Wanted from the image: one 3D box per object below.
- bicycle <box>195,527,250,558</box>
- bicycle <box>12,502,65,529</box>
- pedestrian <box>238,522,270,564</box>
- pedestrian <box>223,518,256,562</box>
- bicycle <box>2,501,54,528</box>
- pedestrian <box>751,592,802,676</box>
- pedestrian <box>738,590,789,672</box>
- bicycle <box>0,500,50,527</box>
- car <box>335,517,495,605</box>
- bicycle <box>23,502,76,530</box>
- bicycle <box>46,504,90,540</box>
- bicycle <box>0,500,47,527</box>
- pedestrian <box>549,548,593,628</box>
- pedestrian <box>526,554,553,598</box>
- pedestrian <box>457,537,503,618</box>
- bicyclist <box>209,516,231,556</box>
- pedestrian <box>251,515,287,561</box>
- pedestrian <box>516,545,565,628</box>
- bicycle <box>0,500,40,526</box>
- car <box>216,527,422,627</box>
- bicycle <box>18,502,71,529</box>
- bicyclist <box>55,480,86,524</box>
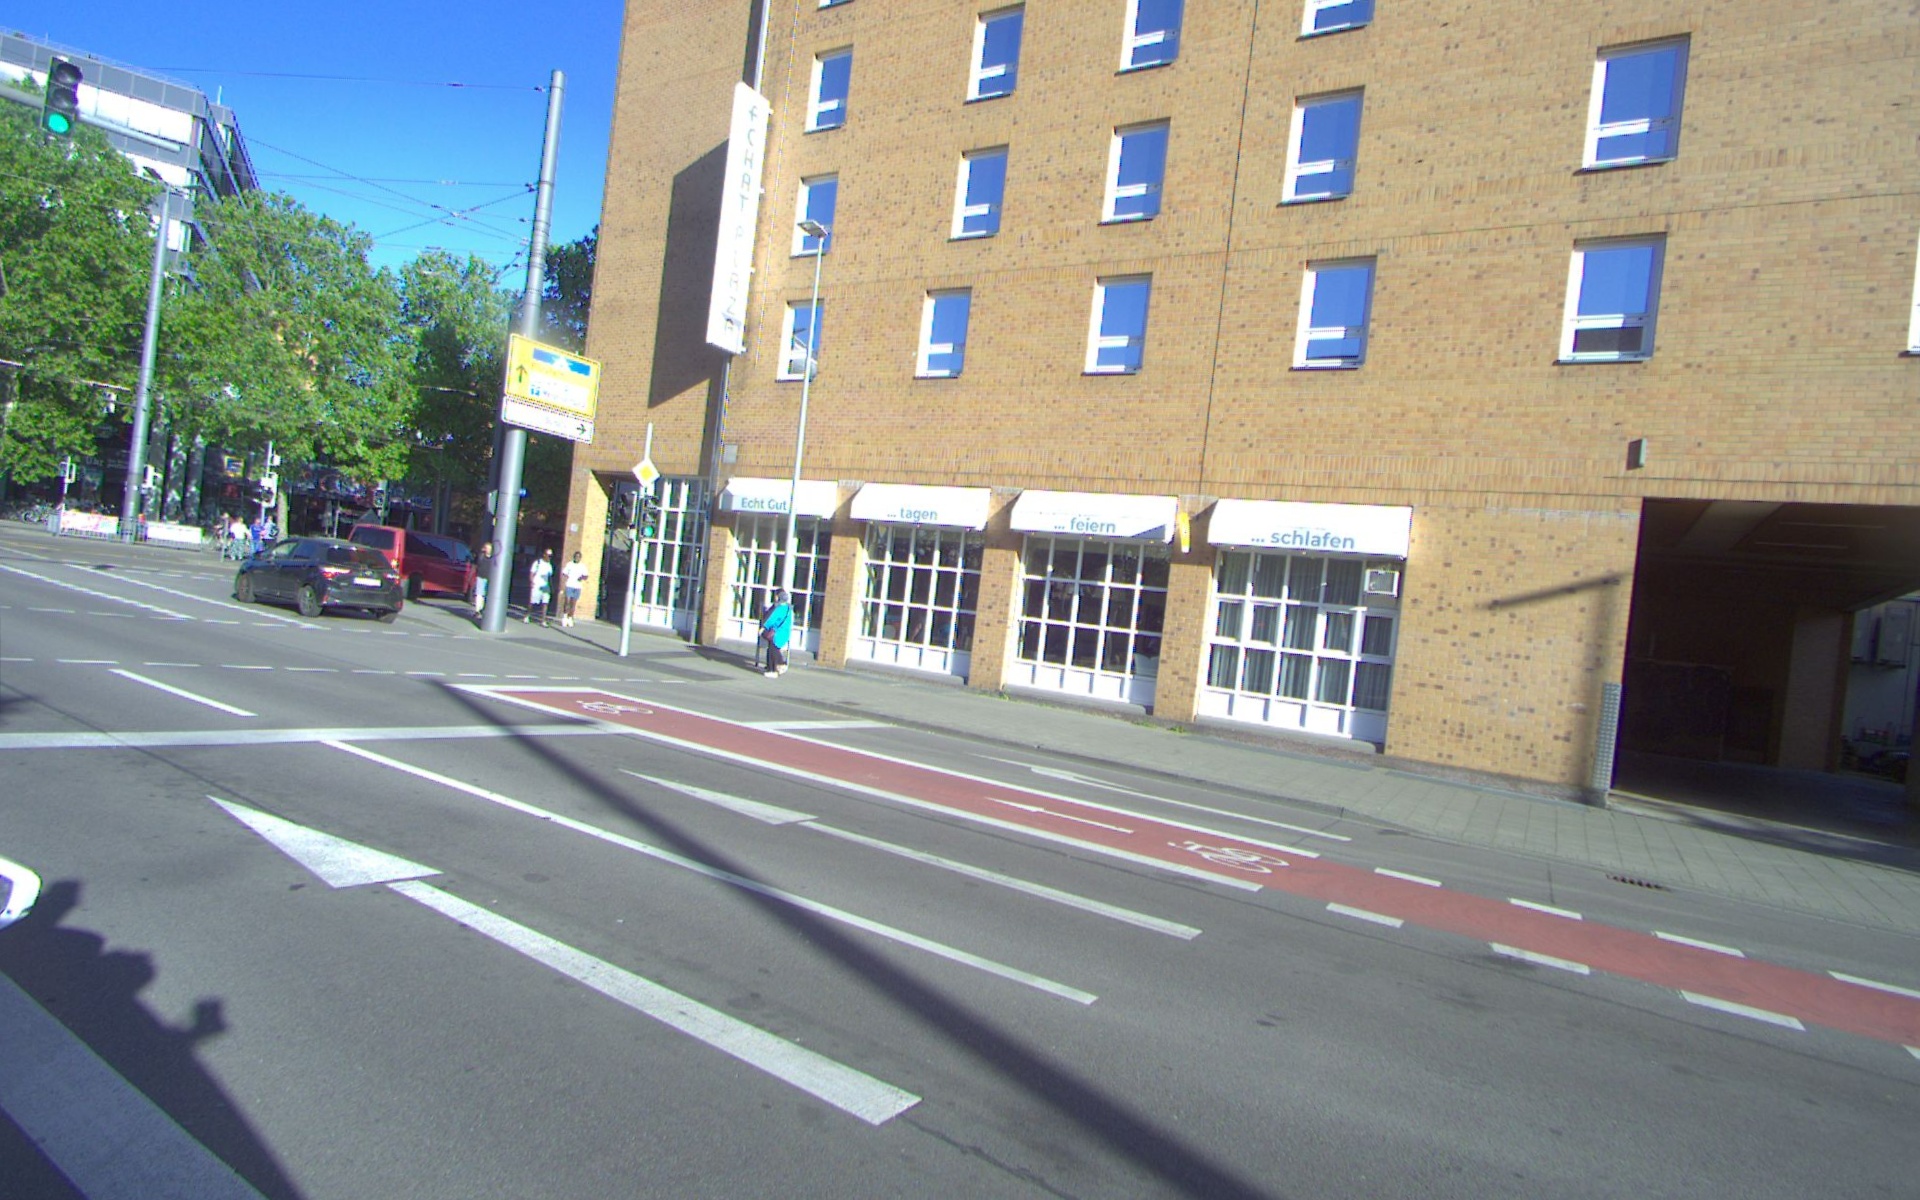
[{"bbox_3d":[-36.336,-2.824,49.592,0.414,1.228,2.046,6,-2,32],"label":"bicycle"},{"bbox_3d":[-47.340,-4.338,51.695,0.354,1.058,1.884,6,-2,31],"label":"bicycle"},{"bbox_3d":[-27.281,-2.199,38.887,0.689,1.496,0.568,6,-1,18],"label":"pedestrian"},{"bbox_3d":[-27.457,-2.276,38.332,0.689,1.550,0.568,6,-1,19],"label":"pedestrian"},{"bbox_3d":[-48.376,-4.436,52.233,0.354,1.058,1.884,6,-2,31],"label":"bicycle"},{"bbox_3d":[-3.372,0.608,18.492,0.591,1.472,0.592,6,4,32],"label":"pedestrian"},{"bbox_3d":[-3.733,0.591,19.127,0.543,1.495,0.593,6,0,32],"label":"pedestrian"},{"bbox_3d":[-48.791,-4.493,52.462,0.354,1.058,1.885,7,-2,31],"label":"bicycle"},{"bbox_3d":[-16.380,-1.101,30.550,1.775,2.031,4.479,7,-2,7],"label":"car"},{"bbox_3d":[-46.011,-4.228,50.864,0.354,1.058,1.884,6,-2,31],"label":"bicycle"},{"bbox_3d":[-39.070,-3.432,44.061,2.872,1.383,0.726,6,-2,36],"label":"bicycle"},{"bbox_3d":[-49.201,-4.540,52.730,0.354,1.058,1.885,7,-2,31],"label":"bicycle"},{"bbox_3d":[-9.270,-0.288,23.964,0.673,1.802,0.591,6,1,43],"label":"pedestrian"},{"bbox_3d":[-17.108,-0.985,40.917,0.636,1.719,0.716,8,-2,-39],"label":"pedestrian"},{"bbox_3d":[-11.470,-0.528,24.040,0.726,1.813,0.510,7,-1,-19],"label":"pedestrian"},{"bbox_3d":[-36.389,-3.151,49.457,0.396,1.859,0.585,6,-1,31],"label":"bicyclist"},{"bbox_3d":[-28.626,-2.571,41.659,0.747,1.724,0.834,6,-1,32],"label":"pedestrian"},{"bbox_3d":[-9.674,-0.307,23.199,0.670,1.804,0.593,10,5,28],"label":"pedestrian"},{"bbox_3d":[-50.134,-4.642,53.367,0.354,1.058,1.885,7,-2,31],"label":"bicycle"},{"bbox_3d":[-13.053,-0.475,20.446,3.971,1.467,1.736,7,-1,29],"label":"car"},{"bbox_3d":[-46.659,-4.281,51.276,0.354,1.058,1.884,6,-2,31],"label":"bicycle"},{"bbox_3d":[-38.971,-4.289,44.089,0.717,1.829,0.697,6,-1,36],"label":"bicyclist"}]
